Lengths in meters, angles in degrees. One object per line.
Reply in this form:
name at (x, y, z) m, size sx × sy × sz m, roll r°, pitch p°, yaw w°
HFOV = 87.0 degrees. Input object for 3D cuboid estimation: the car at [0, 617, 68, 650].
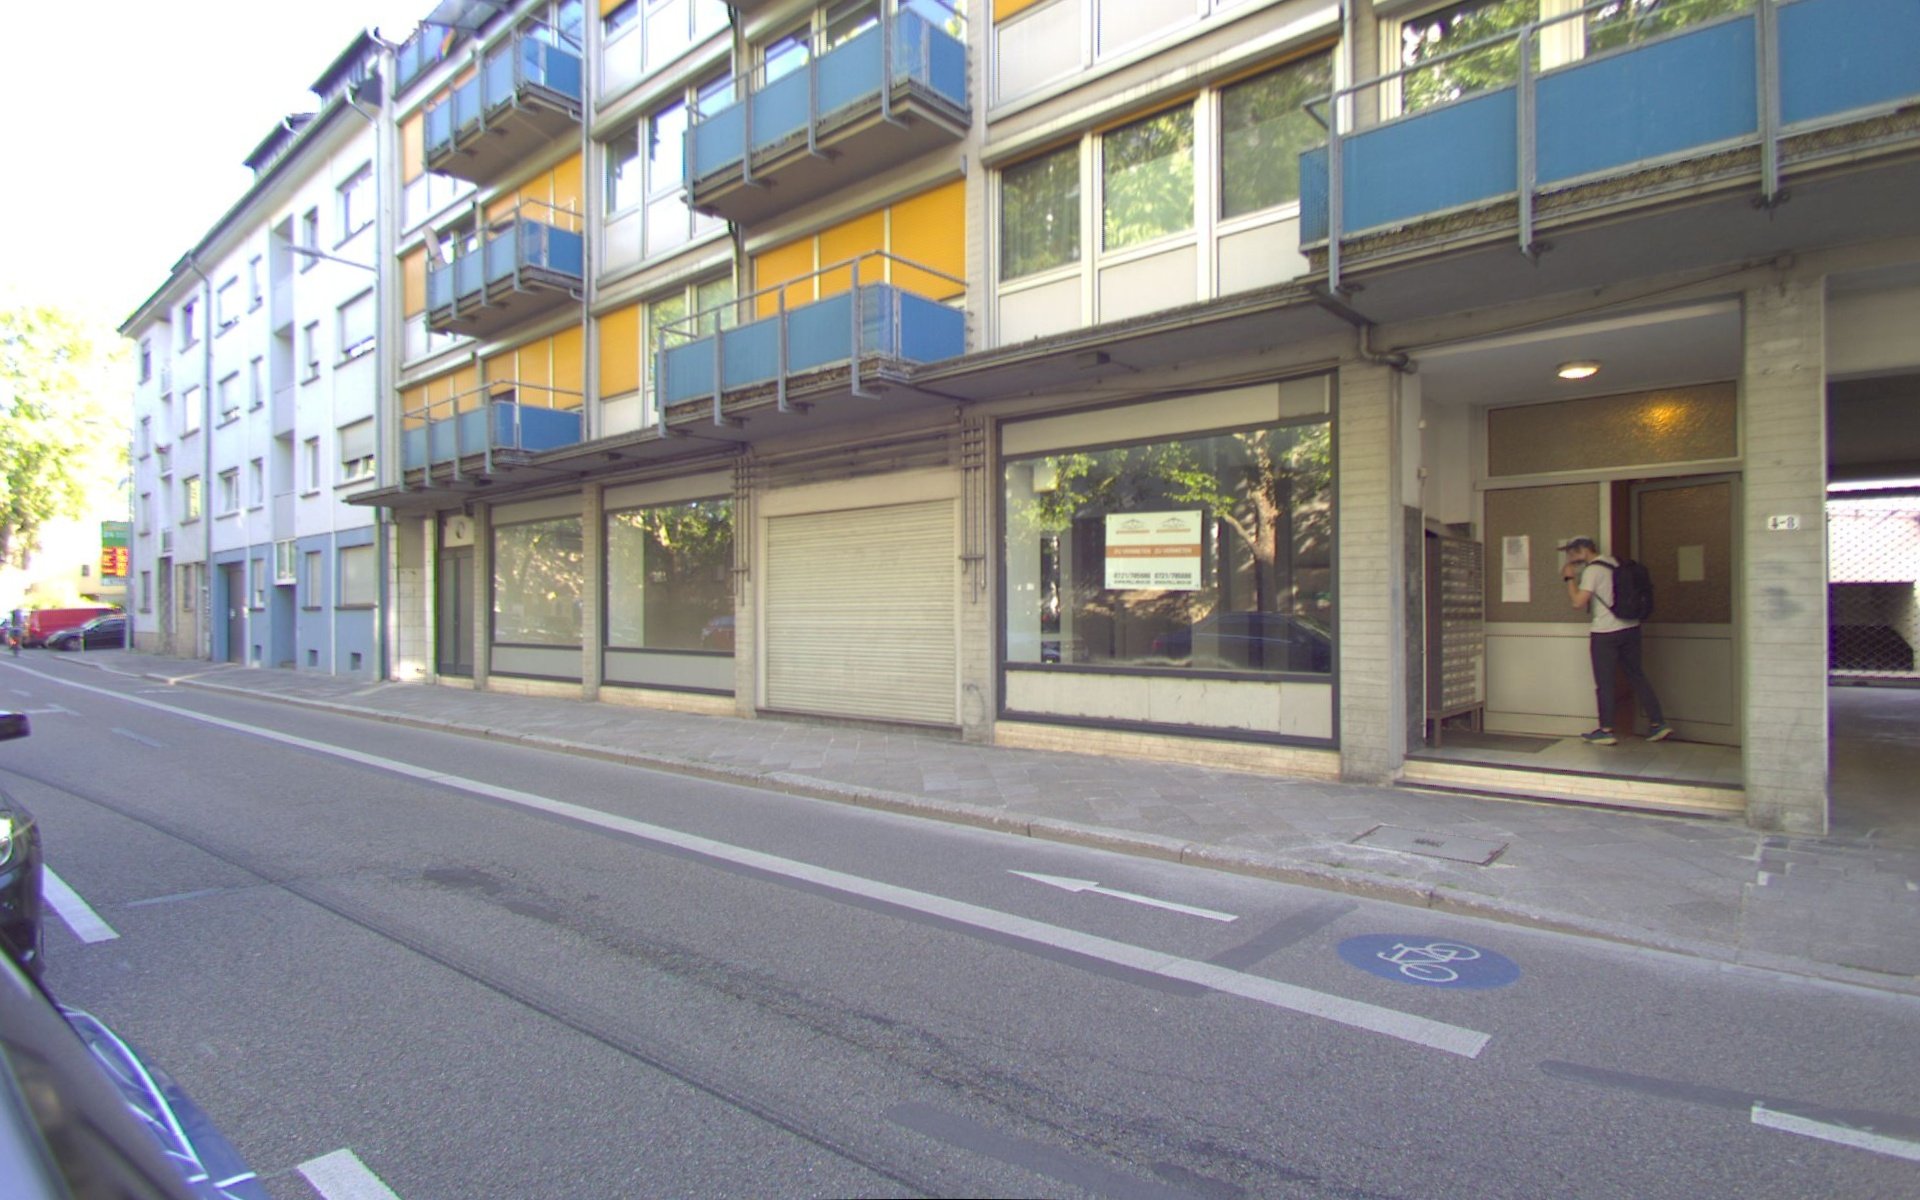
car at (-59.200, 2.121, 64.007) m, size 2.000 × 1.962 × 3.944 m, roll -1°, pitch 0°, yaw 42°

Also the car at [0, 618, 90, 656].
car at (-51.563, 2.021, 56.821) m, size 2.000 × 1.962 × 3.944 m, roll -1°, pitch 0°, yaw 42°

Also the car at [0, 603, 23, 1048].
car at (-5.514, 0.809, 4.272) m, size 4.479 × 1.512 × 1.842 m, roll -1°, pitch -1°, yaw 41°

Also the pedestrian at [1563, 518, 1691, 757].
pedestrian at (5.605, 0.296, 8.511) m, size 0.787 × 1.894 × 0.573 m, roll -1°, pitch 0°, yaw 44°

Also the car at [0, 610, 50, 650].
car at (-62.792, 1.969, 66.776) m, size 2.000 × 2.538 × 3.944 m, roll -1°, pitch 0°, yaw 42°

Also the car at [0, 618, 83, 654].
car at (-53.514, 2.047, 58.603) m, size 2.000 × 1.962 × 3.944 m, roll -1°, pitch 0°, yaw 42°

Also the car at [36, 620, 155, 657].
car at (-39.750, 1.734, 46.597) m, size 2.000 × 1.564 × 3.944 m, roll -1°, pitch 0°, yaw 42°

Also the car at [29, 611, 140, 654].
car at (-43.423, 1.583, 50.243) m, size 2.000 × 1.962 × 3.944 m, roll -1°, pitch 0°, yaw 42°

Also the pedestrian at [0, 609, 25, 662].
pedestrian at (-37.056, 1.385, 39.469) m, size 1.046 × 2.029 × 0.725 m, roll -1°, pitch 0°, yaw 41°

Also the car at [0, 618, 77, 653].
car at (-55.595, 2.074, 60.556) m, size 2.000 × 1.962 × 3.944 m, roll -1°, pitch 0°, yaw 42°

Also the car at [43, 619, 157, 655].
car at (-41.168, 1.753, 48.518) m, size 2.000 × 1.564 × 3.944 m, roll -1°, pitch 0°, yaw 42°
